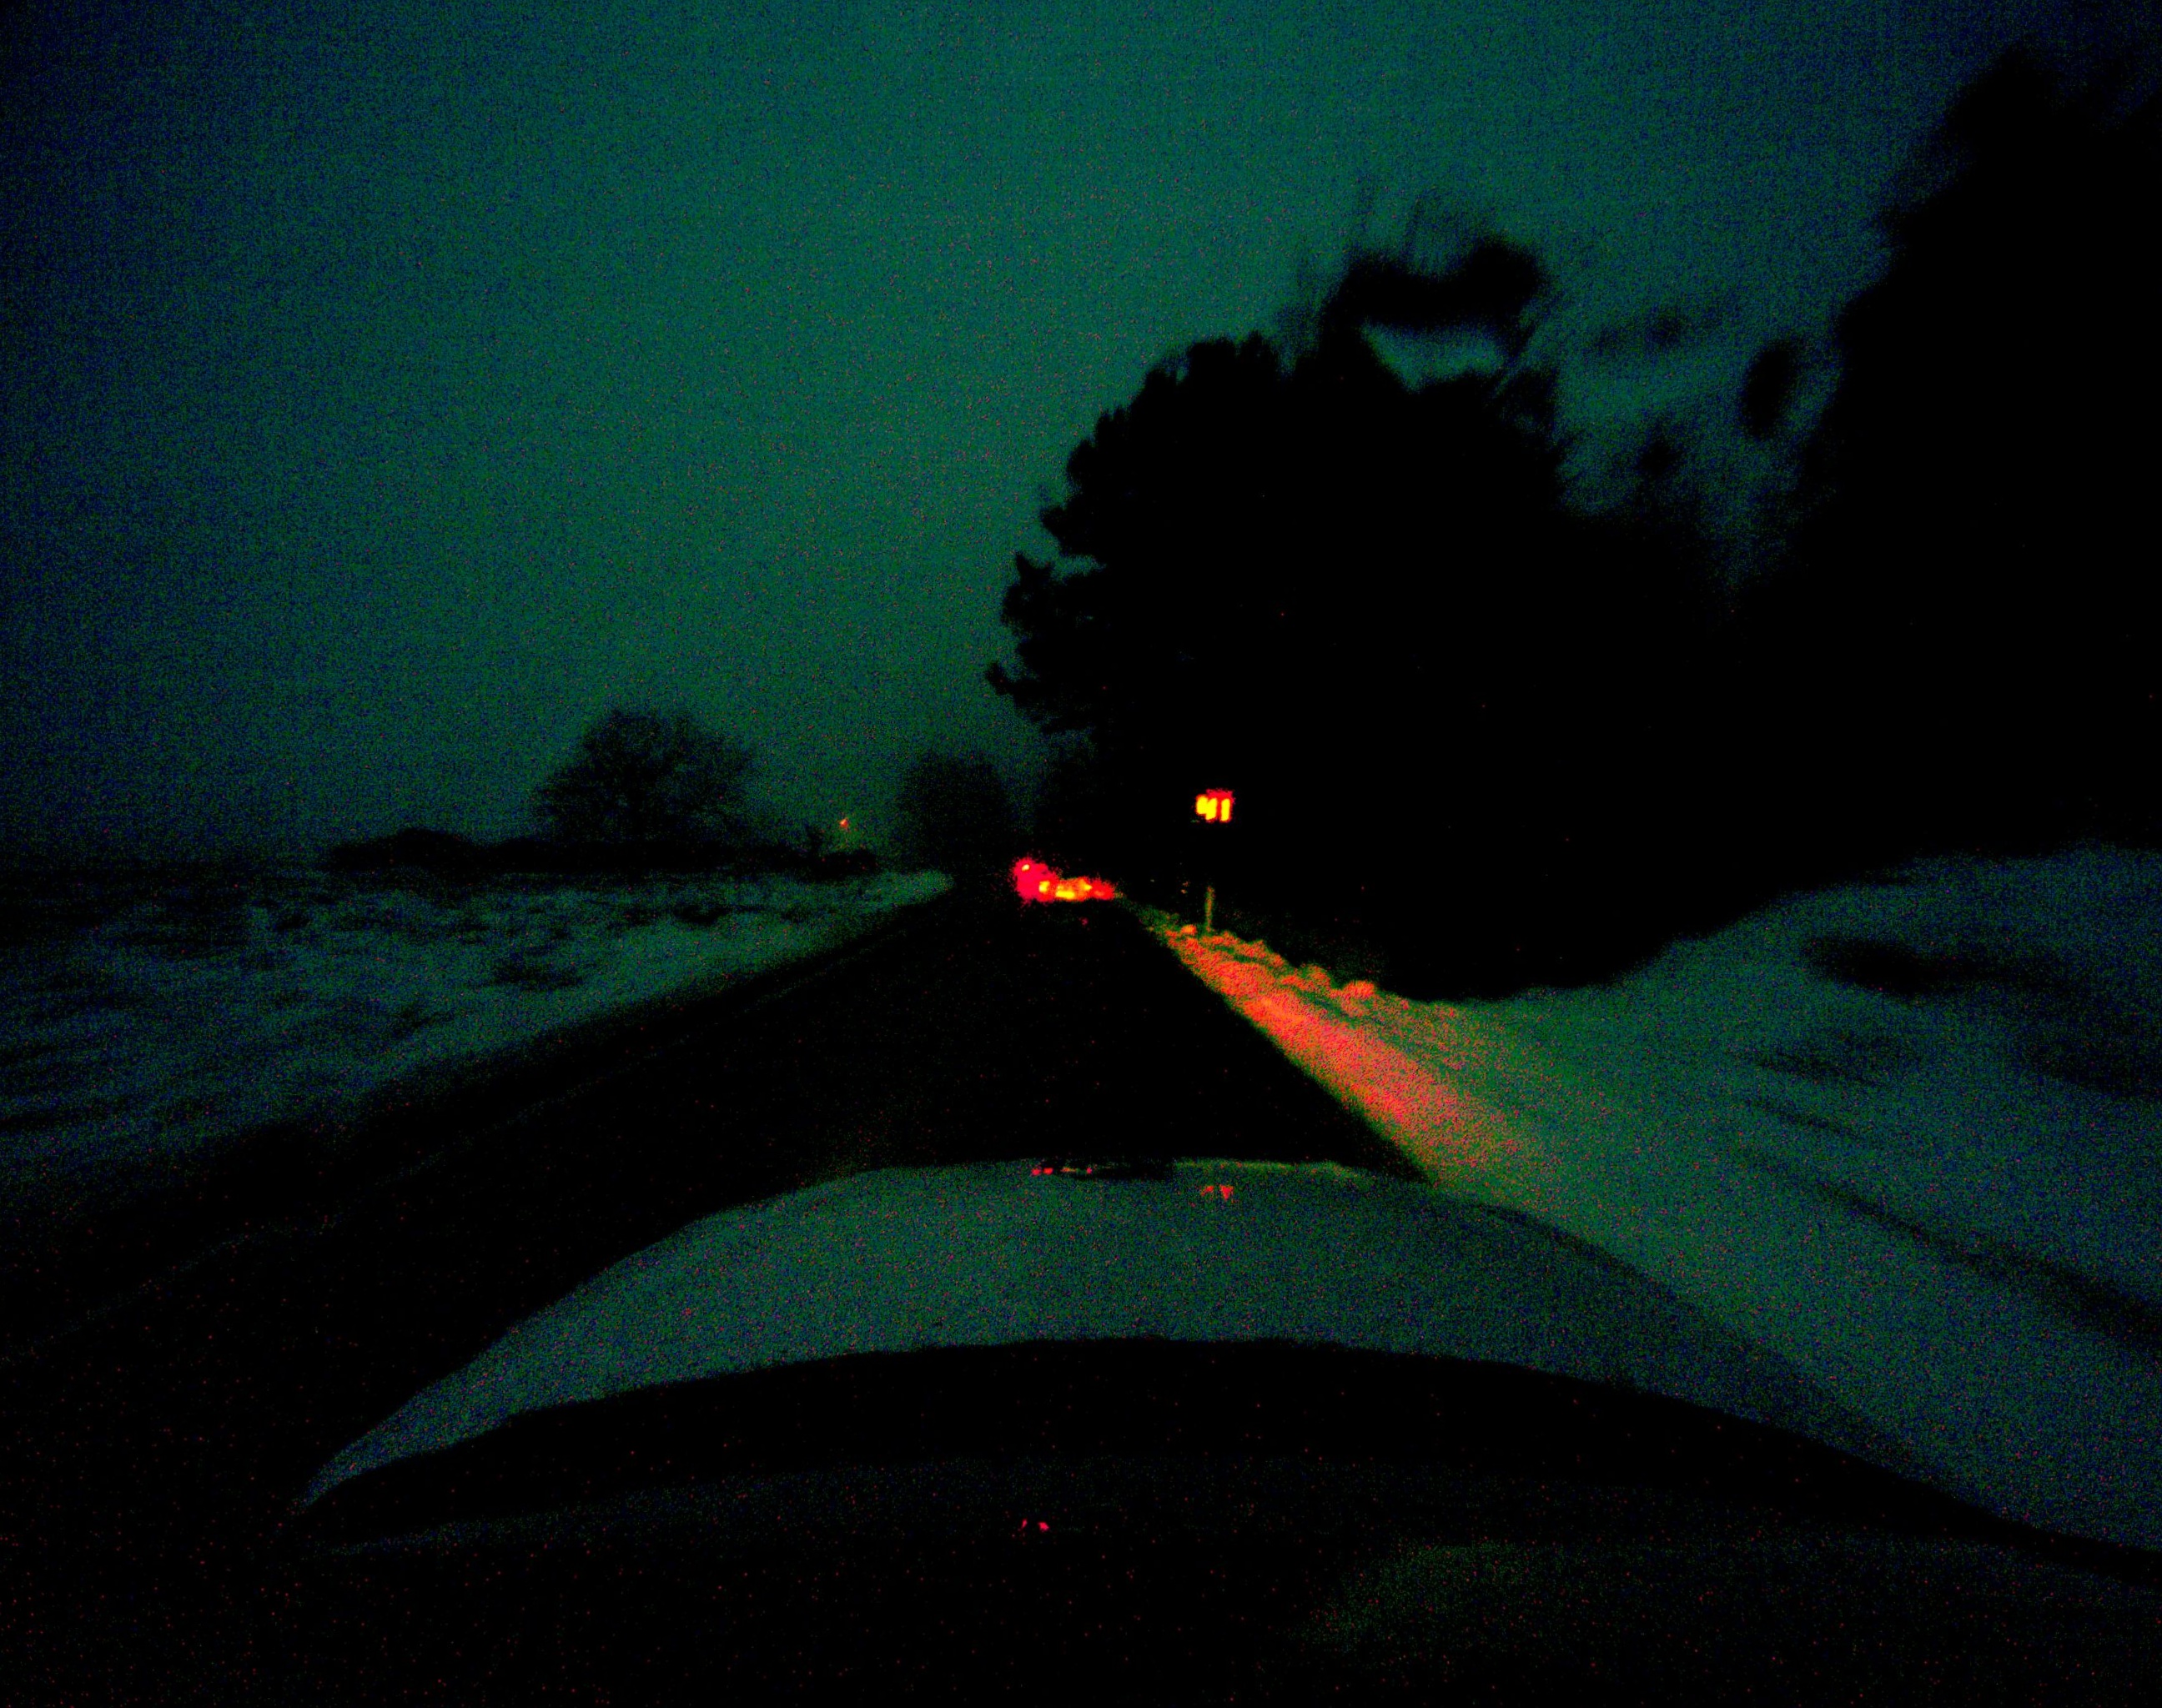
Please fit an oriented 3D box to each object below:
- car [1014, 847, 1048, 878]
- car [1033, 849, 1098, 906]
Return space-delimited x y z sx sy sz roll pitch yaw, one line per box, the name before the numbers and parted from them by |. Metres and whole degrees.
car | -2.565 0.440 41.177 1.478 1.508 3.044 0 0 -8
car | -0.506 0.738 25.242 1.702 1.463 3.996 6 -2 -2
